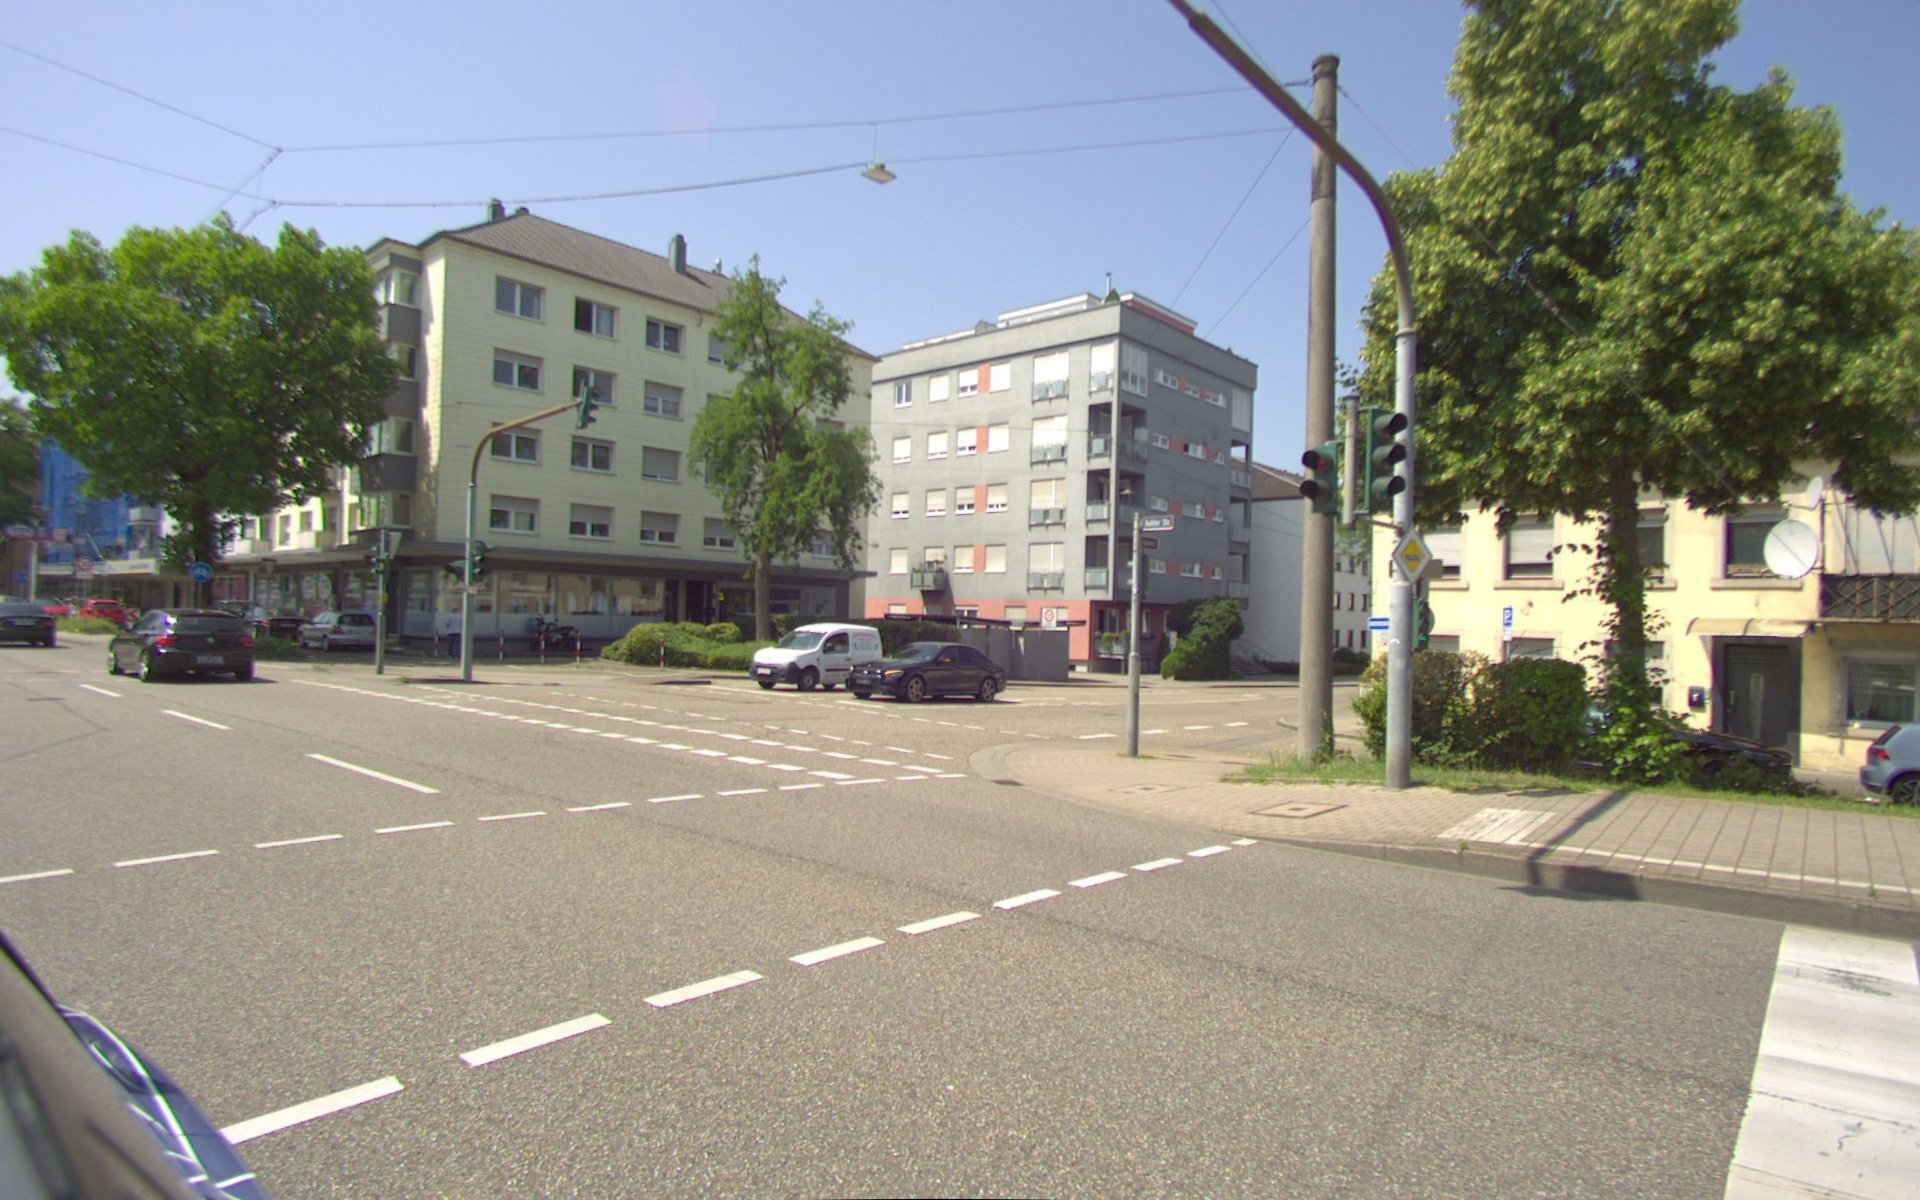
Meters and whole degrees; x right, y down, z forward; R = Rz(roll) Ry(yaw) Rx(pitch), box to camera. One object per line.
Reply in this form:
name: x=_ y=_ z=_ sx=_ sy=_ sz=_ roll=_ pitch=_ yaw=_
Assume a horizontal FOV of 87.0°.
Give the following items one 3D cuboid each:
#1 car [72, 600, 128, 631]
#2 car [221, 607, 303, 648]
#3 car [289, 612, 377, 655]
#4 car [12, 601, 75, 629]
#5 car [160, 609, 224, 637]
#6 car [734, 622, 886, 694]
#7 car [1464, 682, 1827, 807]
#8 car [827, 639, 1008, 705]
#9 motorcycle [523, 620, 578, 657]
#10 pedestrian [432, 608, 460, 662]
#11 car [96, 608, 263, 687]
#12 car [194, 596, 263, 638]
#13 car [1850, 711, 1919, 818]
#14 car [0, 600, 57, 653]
car: x=-44.318 y=0.784 z=52.107 sx=3.632 sy=1.479 sz=1.618 roll=0 pitch=-2 yaw=41
car: x=-29.191 y=1.130 z=42.274 sx=4.836 sy=1.581 sz=1.605 roll=1 pitch=-1 yaw=40
car: x=-23.072 y=1.211 z=37.199 sx=3.937 sy=1.470 sz=1.566 roll=1 pitch=-1 yaw=40
car: x=-52.975 y=0.865 z=58.468 sx=4.327 sy=1.531 sz=1.890 roll=0 pitch=-2 yaw=37
car: x=-37.771 y=1.106 z=49.765 sx=3.858 sy=1.296 sz=1.682 roll=1 pitch=-1 yaw=40
car: x=-3.944 y=1.581 z=27.052 sx=1.892 sy=1.748 sz=3.650 roll=1 pitch=-4 yaw=38
car: x=12.469 y=2.537 z=18.753 sx=1.793 sy=1.640 sz=5.292 roll=6 pitch=-4 yaw=-42
car: x=-0.946 y=1.811 z=25.272 sx=2.113 sy=1.412 sz=4.563 roll=1 pitch=-4 yaw=36
motorcycle: x=-16.350 y=1.518 z=40.462 sx=0.714 sy=1.431 sz=1.894 roll=2 pitch=0 yaw=41
pedestrian: x=-17.609 y=1.205 z=34.680 sx=0.742 sy=1.773 sz=0.620 roll=-6 pitch=-6 yaw=39
car: x=-15.904 y=0.934 z=20.560 sx=4.047 sy=1.410 sz=1.817 roll=0 pitch=-3 yaw=40
car: x=-33.495 y=0.768 z=46.298 sx=3.856 sy=1.853 sz=1.622 roll=0 pitch=-1 yaw=40
car: x=16.080 y=2.538 z=14.798 sx=1.754 sy=1.443 sz=4.434 roll=1 pitch=-2 yaw=-42
car: x=-30.265 y=0.794 z=32.083 sx=4.313 sy=1.572 sz=1.738 roll=1 pitch=0 yaw=39
